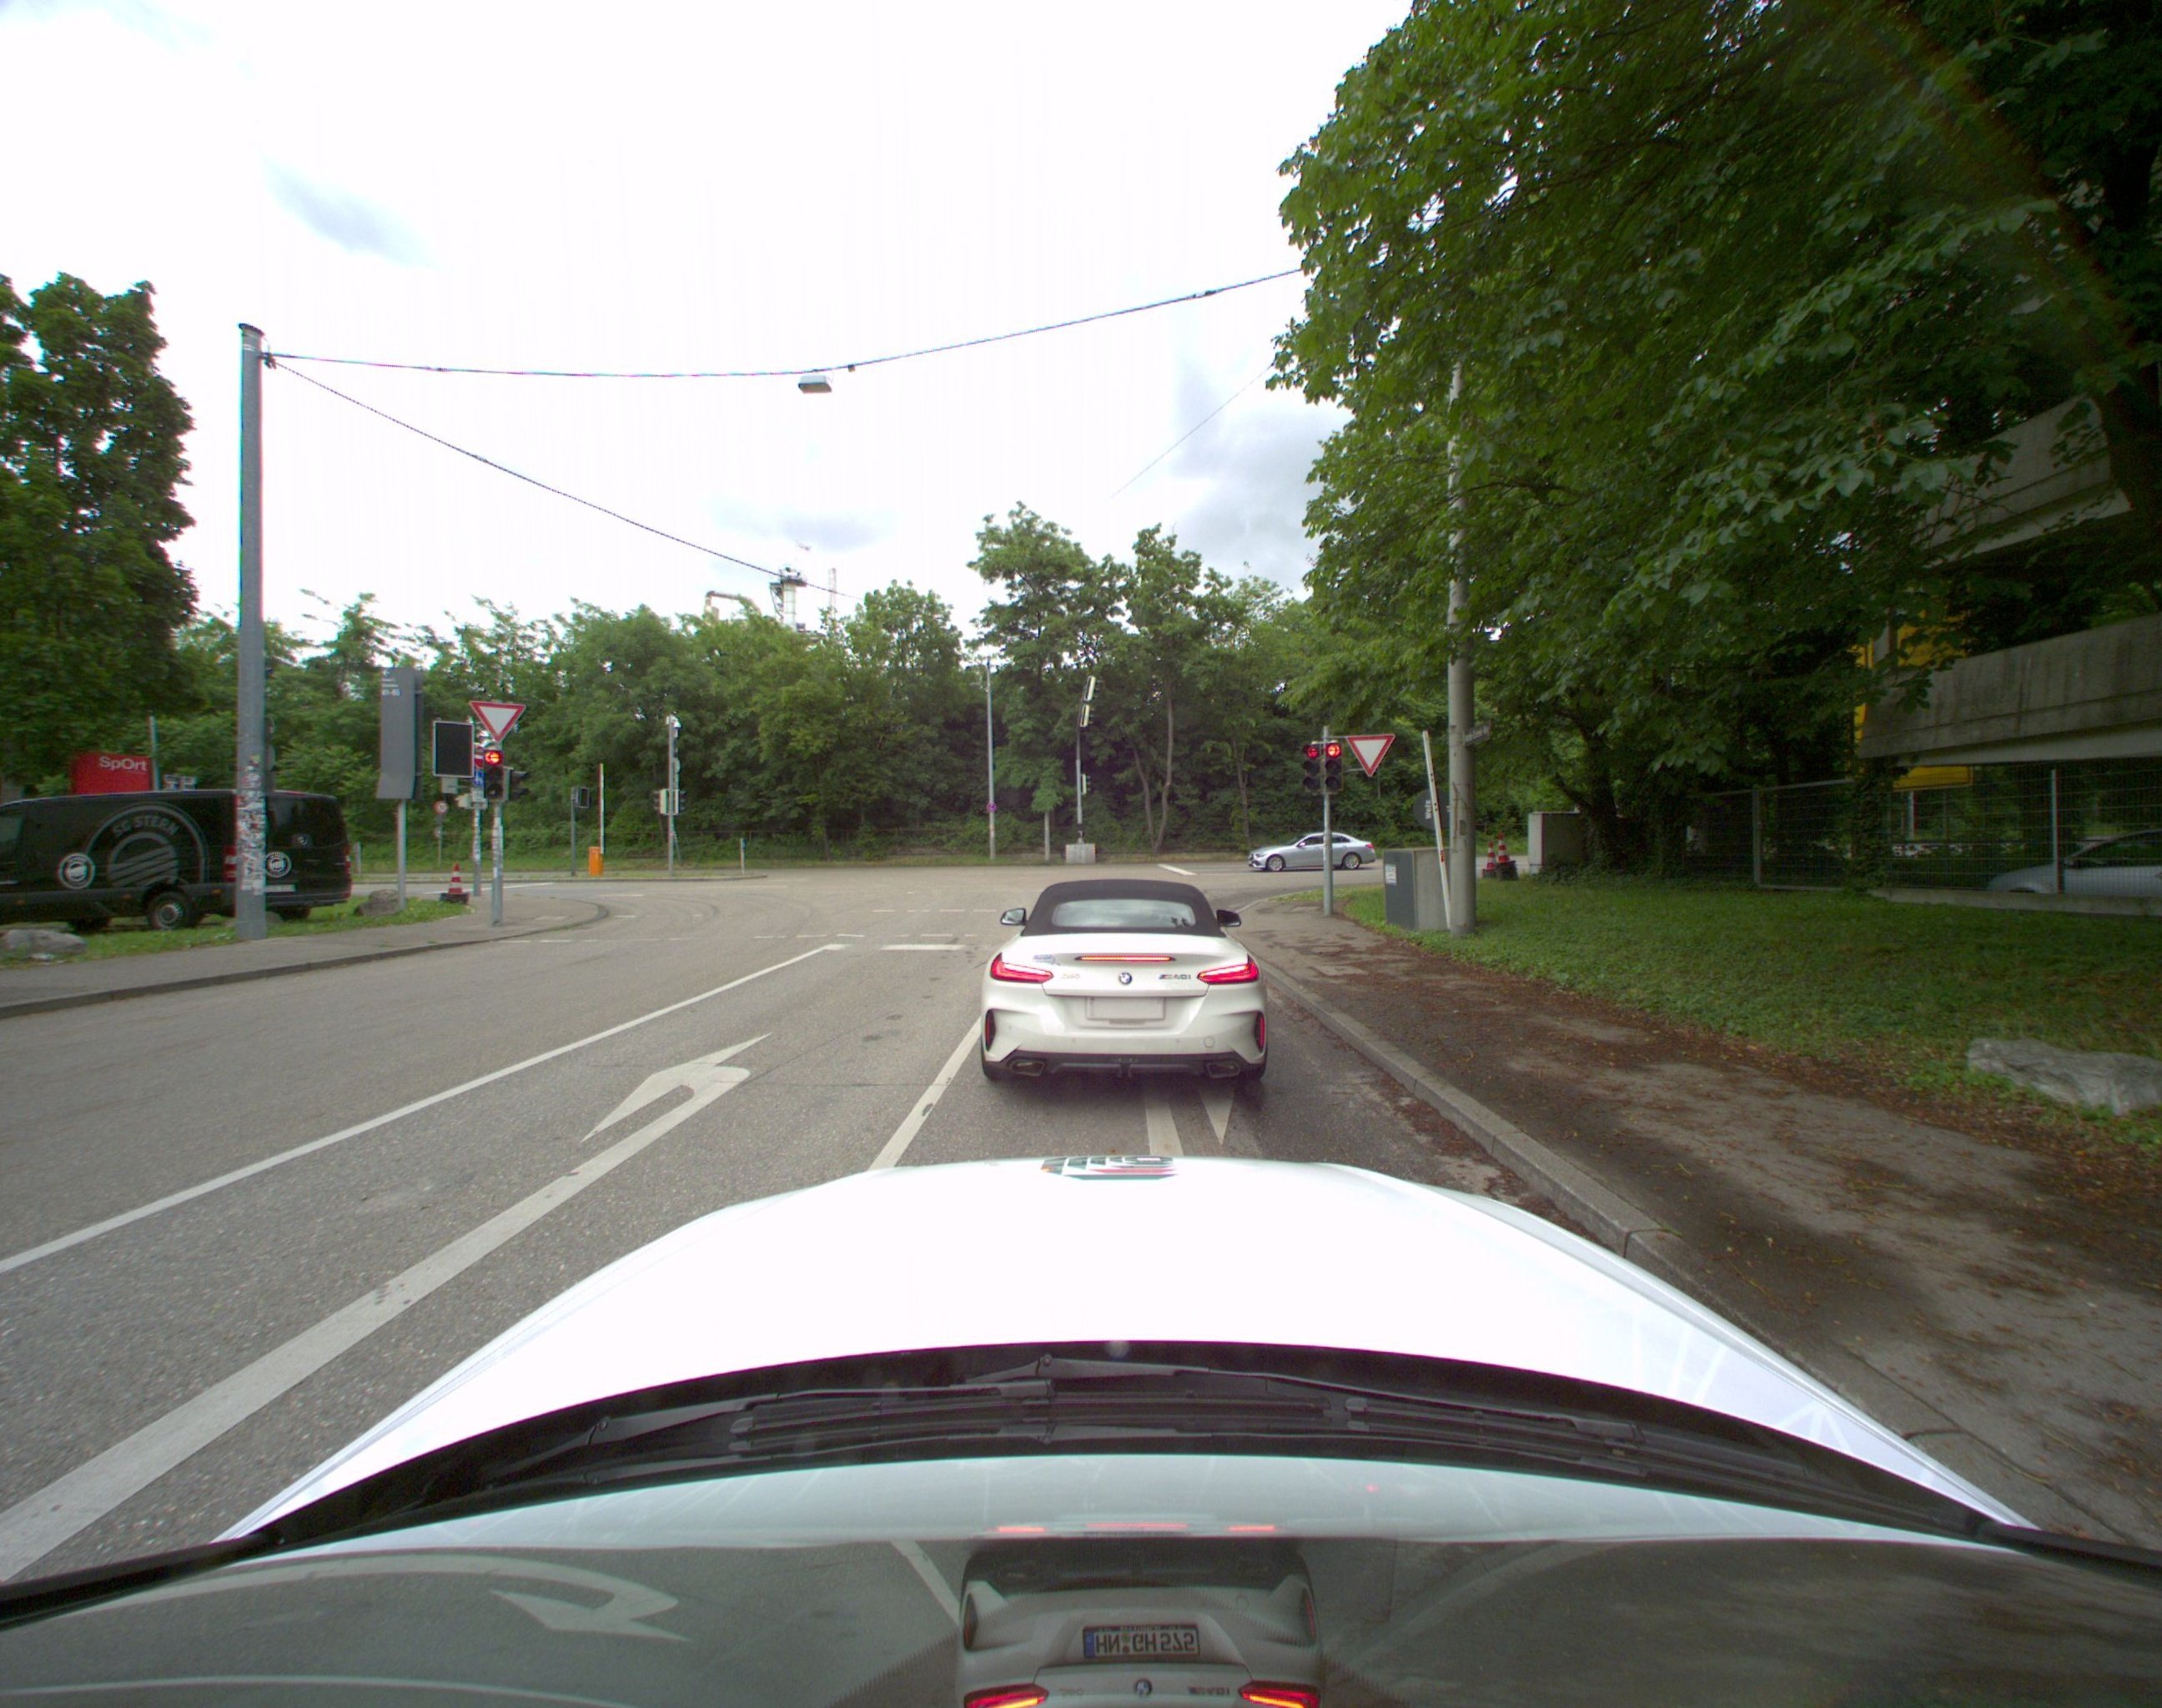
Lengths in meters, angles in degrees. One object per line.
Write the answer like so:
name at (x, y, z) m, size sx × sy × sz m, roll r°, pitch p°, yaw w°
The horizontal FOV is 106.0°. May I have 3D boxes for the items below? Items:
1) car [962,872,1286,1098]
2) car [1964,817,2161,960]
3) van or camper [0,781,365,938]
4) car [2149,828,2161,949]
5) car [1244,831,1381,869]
car at (0.244, 0.786, 6.580) m, size 1.822 × 1.257 × 3.998 m, roll 0°, pitch -1°, yaw 0°
car at (13.616, 0.425, 10.044) m, size 1.475 × 1.708 × 3.720 m, roll 0°, pitch -1°, yaw 2°
van or camper at (-15.888, 0.154, 13.943) m, size 5.513 × 2.314 × 2.063 m, roll -2°, pitch -2°, yaw 2°
car at (16.009, 0.452, 9.736) m, size 1.574 × 1.708 × 3.770 m, roll 0°, pitch -1°, yaw 2°
car at (8.751, -0.174, 31.023) m, size 4.737 × 1.333 × 1.833 m, roll -1°, pitch 2°, yaw -1°
